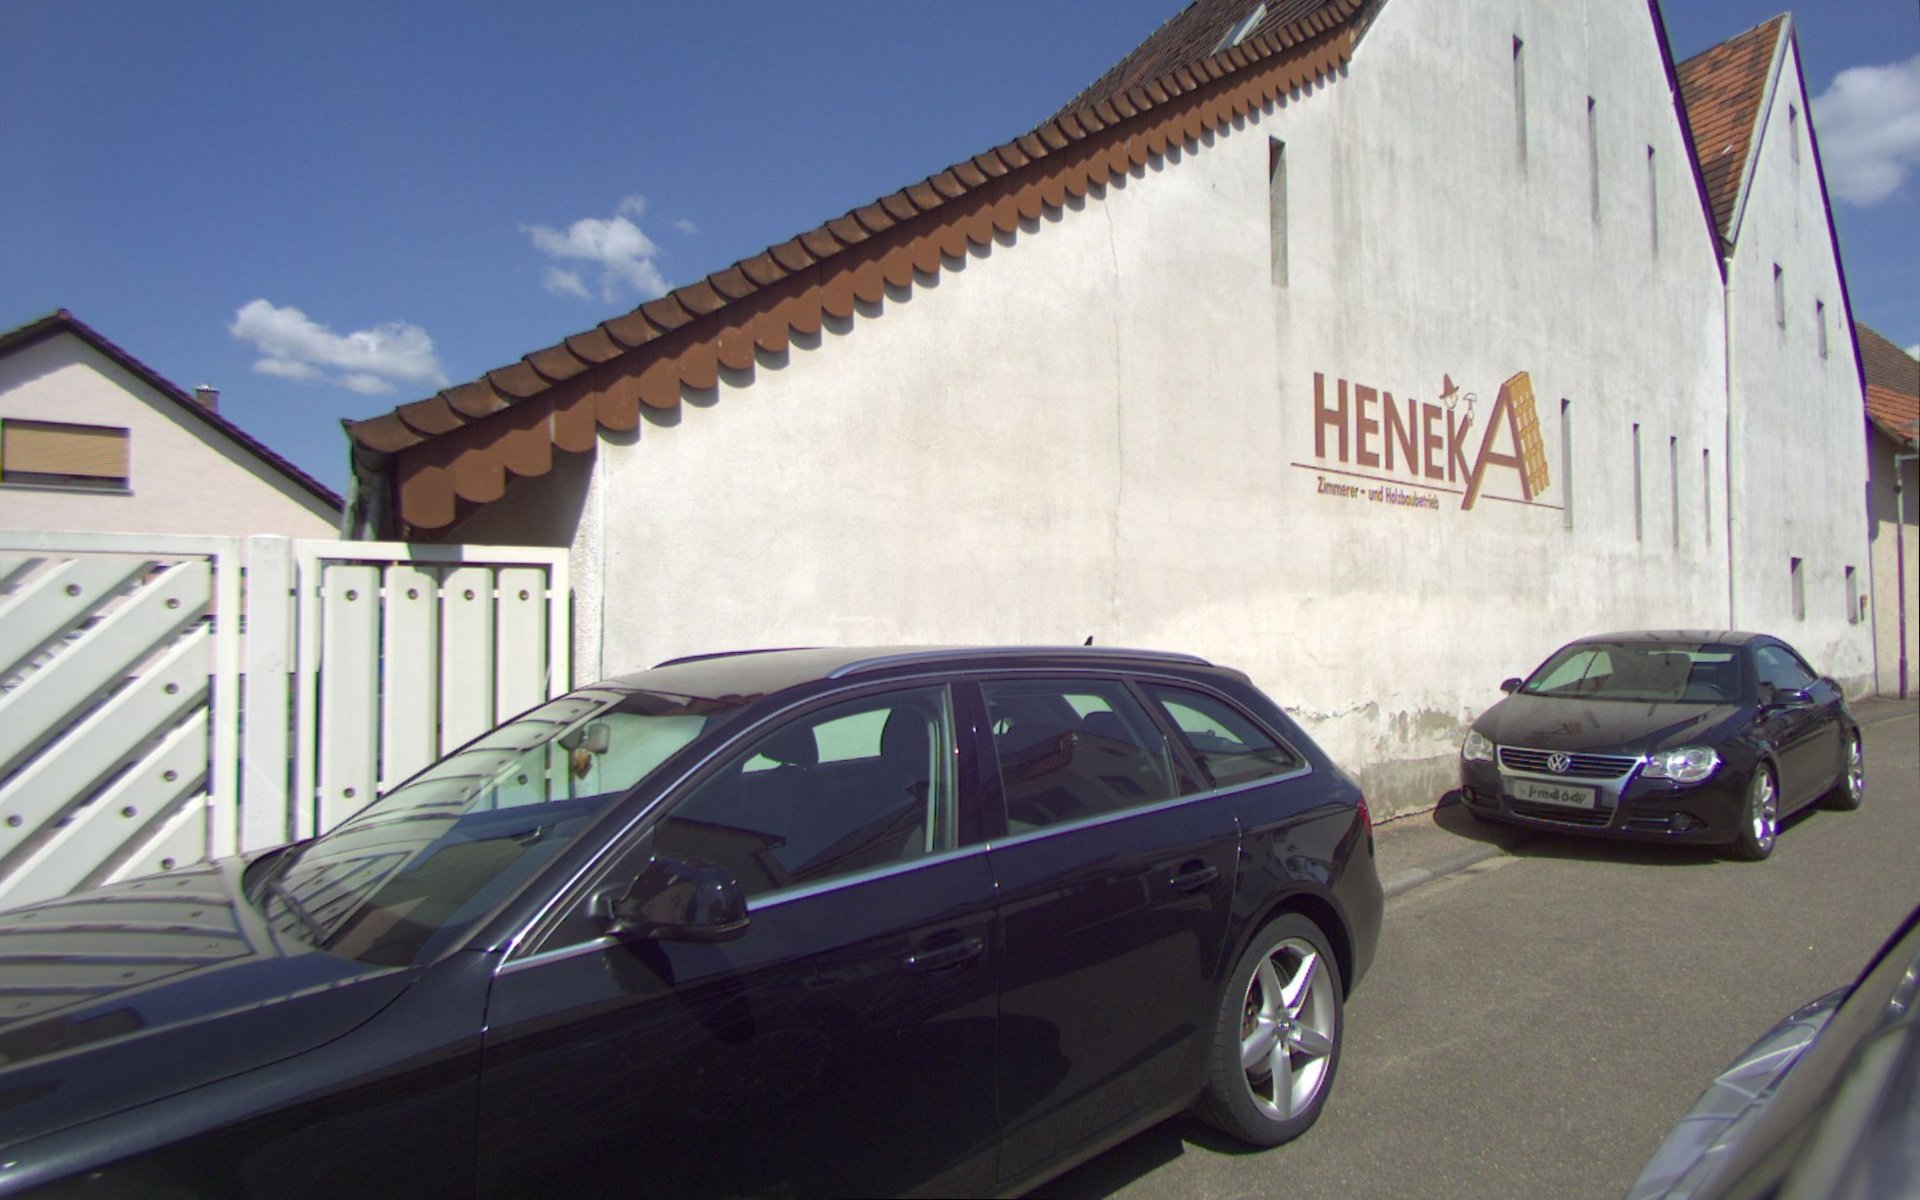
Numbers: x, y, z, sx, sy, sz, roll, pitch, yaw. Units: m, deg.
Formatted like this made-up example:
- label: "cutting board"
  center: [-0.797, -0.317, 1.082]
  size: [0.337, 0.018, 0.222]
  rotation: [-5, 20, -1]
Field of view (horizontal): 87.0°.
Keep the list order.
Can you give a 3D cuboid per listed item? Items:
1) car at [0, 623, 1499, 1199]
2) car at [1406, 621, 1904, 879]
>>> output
- label: "car"
  center: [-0.490, 0.801, 2.848]
  size: [4.652, 1.383, 1.899]
  rotation: [0, -2, -40]
- label: "car"
  center: [5.460, 0.891, 7.747]
  size: [4.333, 1.383, 1.900]
  rotation: [0, -2, -38]
